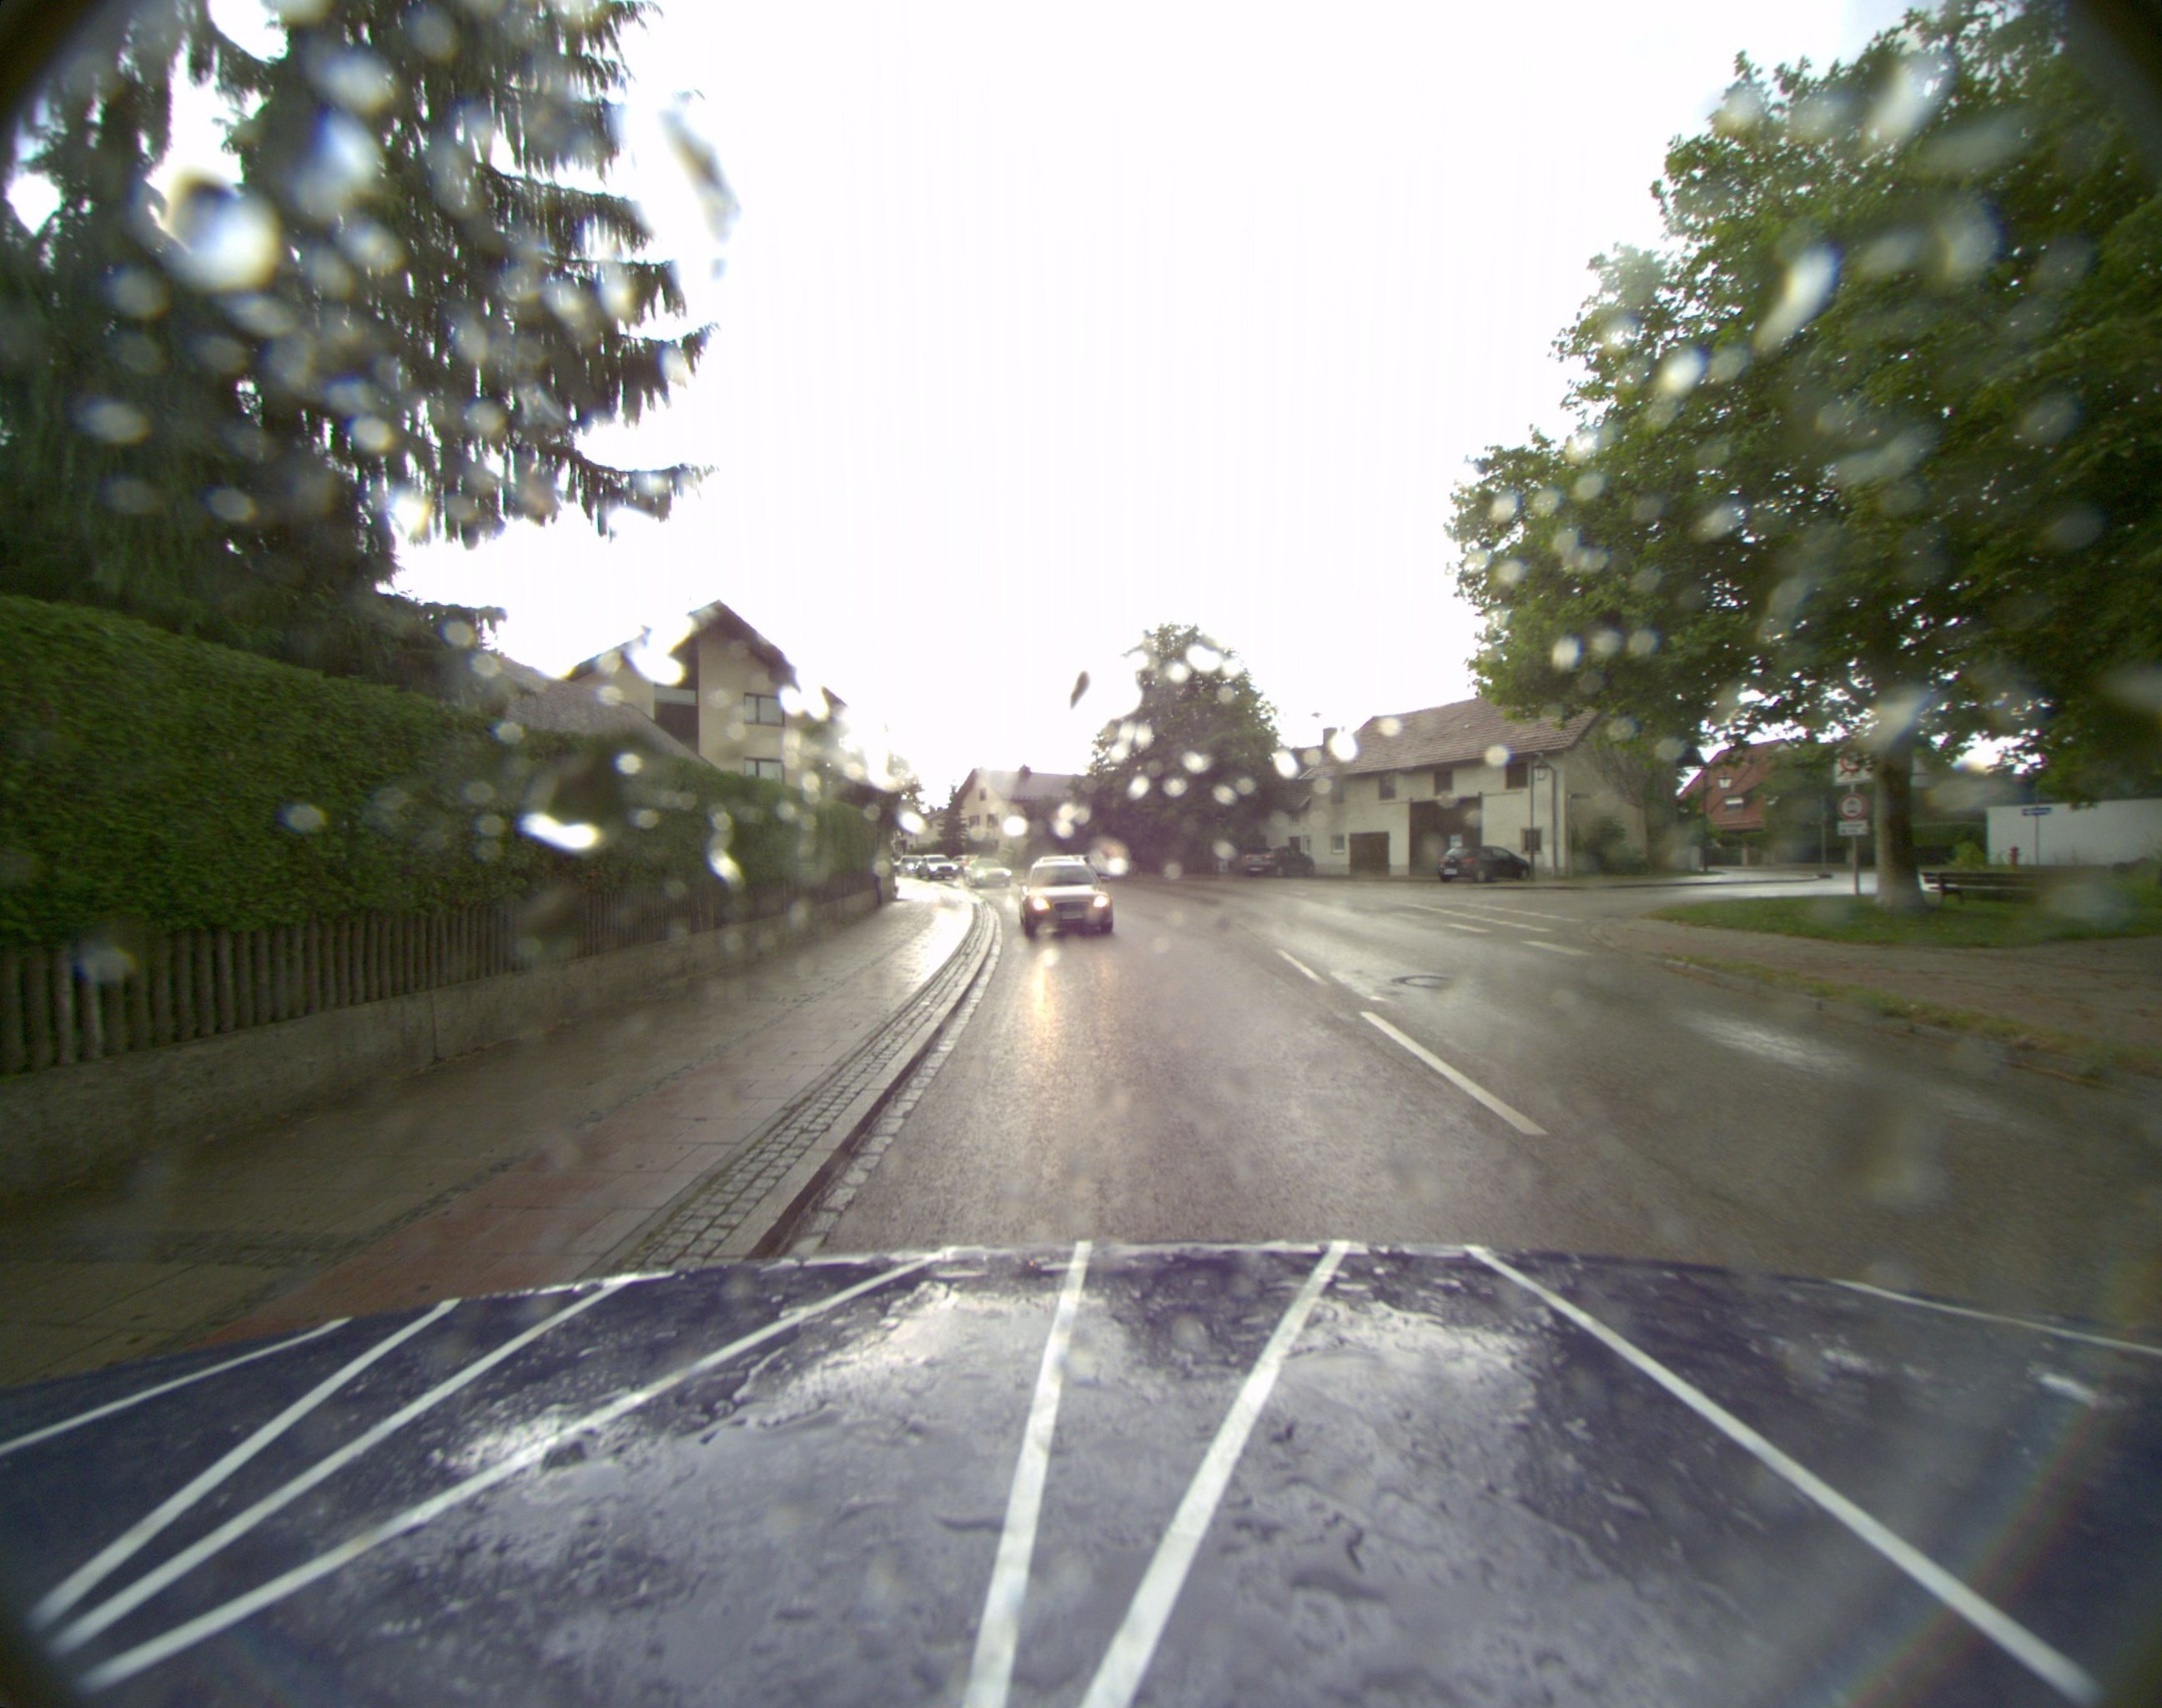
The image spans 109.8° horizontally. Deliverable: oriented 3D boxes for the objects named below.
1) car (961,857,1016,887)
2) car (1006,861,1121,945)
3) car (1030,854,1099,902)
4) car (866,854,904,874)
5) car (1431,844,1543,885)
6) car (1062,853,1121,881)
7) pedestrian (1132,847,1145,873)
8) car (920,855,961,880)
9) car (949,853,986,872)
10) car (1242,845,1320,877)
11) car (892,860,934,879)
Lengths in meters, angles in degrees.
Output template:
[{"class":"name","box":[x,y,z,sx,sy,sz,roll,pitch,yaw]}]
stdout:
[{"class":"car","box":[-4.920,0.878,39.895,1.797,1.387,4.273,-3,1,-21]},{"class":"car","box":[-0.526,0.922,16.264,1.795,1.387,4.277,-3,1,-10]},{"class":"car","box":[-0.726,0.813,28.178,1.795,1.471,5.380,-3,1,-9]},{"class":"car","box":[-16.812,0.855,65.009,1.798,1.539,4.271,-3,1,-32]},{"class":"car","box":[16.047,0.379,30.002,4.287,1.428,1.817,-2,1,-27]},{"class":"car","box":[0.545,0.697,42.574,1.724,1.434,3.992,-3,1,-25]},{"class":"pedestrian","box":[3.593,0.377,47.601,0.652,1.619,0.479,-1,1,17]},{"class":"car","box":[-9.663,0.899,52.029,1.797,1.539,4.272,-3,1,-24]},{"class":"car","box":[-9.196,0.687,61.267,1.625,1.436,3.662,-3,1,-30]},{"class":"car","box":[10.353,0.349,39.177,4.290,1.539,1.813,1,0,-42]},{"class":"car","box":[-13.195,1.206,59.537,1.798,1.365,4.271,-3,1,-32]}]
